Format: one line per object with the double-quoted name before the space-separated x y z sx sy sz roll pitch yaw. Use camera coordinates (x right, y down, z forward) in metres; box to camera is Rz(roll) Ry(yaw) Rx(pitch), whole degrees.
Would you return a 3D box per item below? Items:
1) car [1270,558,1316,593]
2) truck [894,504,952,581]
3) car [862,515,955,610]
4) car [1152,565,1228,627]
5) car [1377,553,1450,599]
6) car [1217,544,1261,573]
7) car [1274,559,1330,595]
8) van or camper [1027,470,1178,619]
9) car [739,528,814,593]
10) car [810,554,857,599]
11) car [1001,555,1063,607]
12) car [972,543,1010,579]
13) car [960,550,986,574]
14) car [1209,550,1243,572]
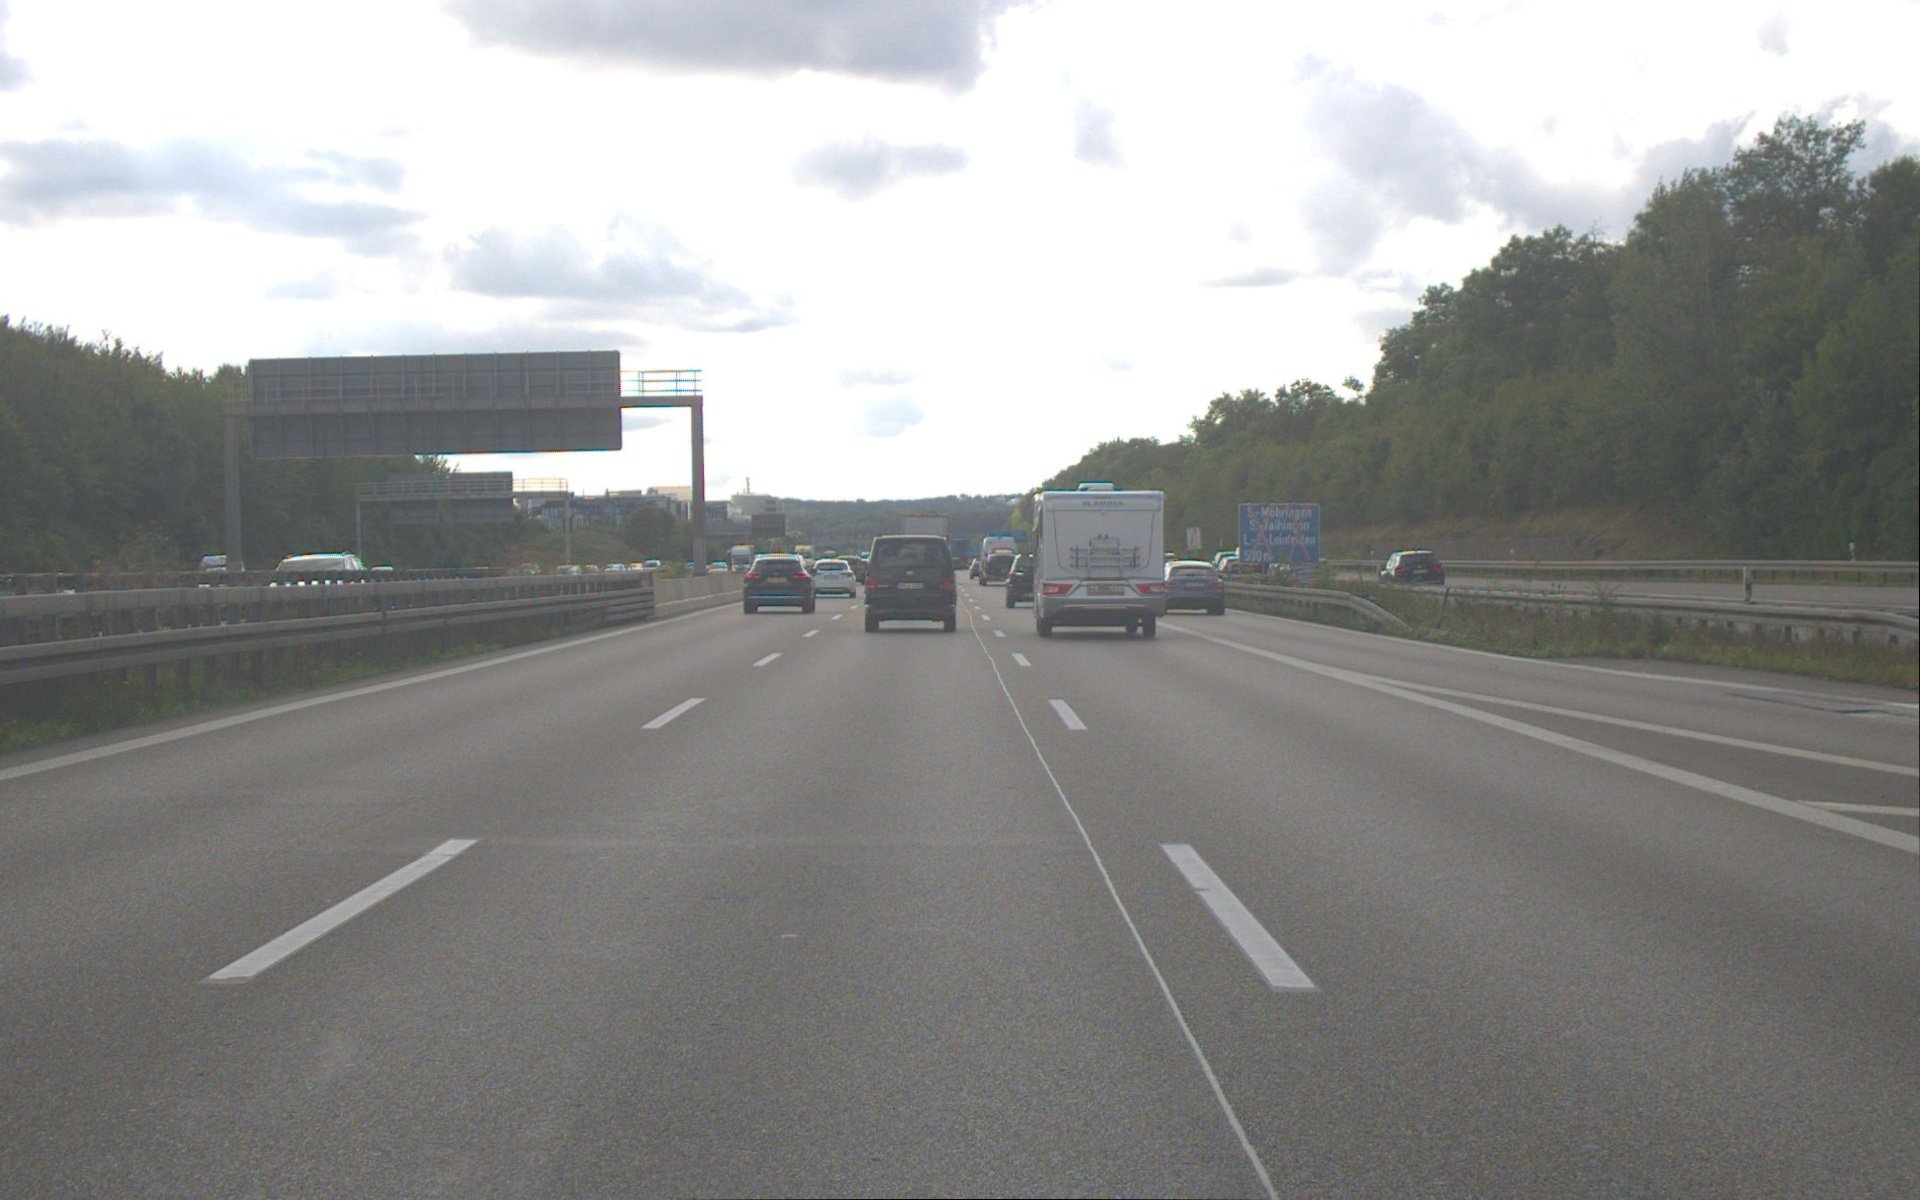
"car" 14.812 -1.108 152.949 1.541 1.479 3.942 -2 1 -1
"truck" -2.169 -3.318 200.623 3.263 4.360 11.026 1 1 -1
"car" -1.069 -0.784 71.070 1.855 1.904 4.260 0 1 -1
"car" 6.170 -0.129 92.496 1.697 1.605 3.896 0 1 -1
"car" 15.691 -0.843 119.126 1.843 1.479 4.526 -2 1 -1
"car" 15.328 -2.296 188.796 1.843 1.479 4.526 -2 1 -2
"car" 15.242 -1.021 153.341 1.843 1.479 4.526 -2 1 -2
"van or camper" 2.693 -1.065 66.938 2.468 2.712 7.662 1 1 -1
"car" -4.957 -1.066 93.178 1.873 1.692 4.072 0 0 -1
"car" -4.660 -0.871 127.010 1.697 1.605 4.114 0 1 -1
"car" 2.185 -0.594 105.452 1.697 1.559 4.114 0 1 -1
"car" 1.655 -2.084 183.935 1.913 1.912 4.030 0 1 -1
"car" 0.903 -2.676 241.332 1.752 1.689 4.190 0 1 -1
"car" 18.622 -2.723 240.500 1.843 1.479 4.526 -2 1 -2
